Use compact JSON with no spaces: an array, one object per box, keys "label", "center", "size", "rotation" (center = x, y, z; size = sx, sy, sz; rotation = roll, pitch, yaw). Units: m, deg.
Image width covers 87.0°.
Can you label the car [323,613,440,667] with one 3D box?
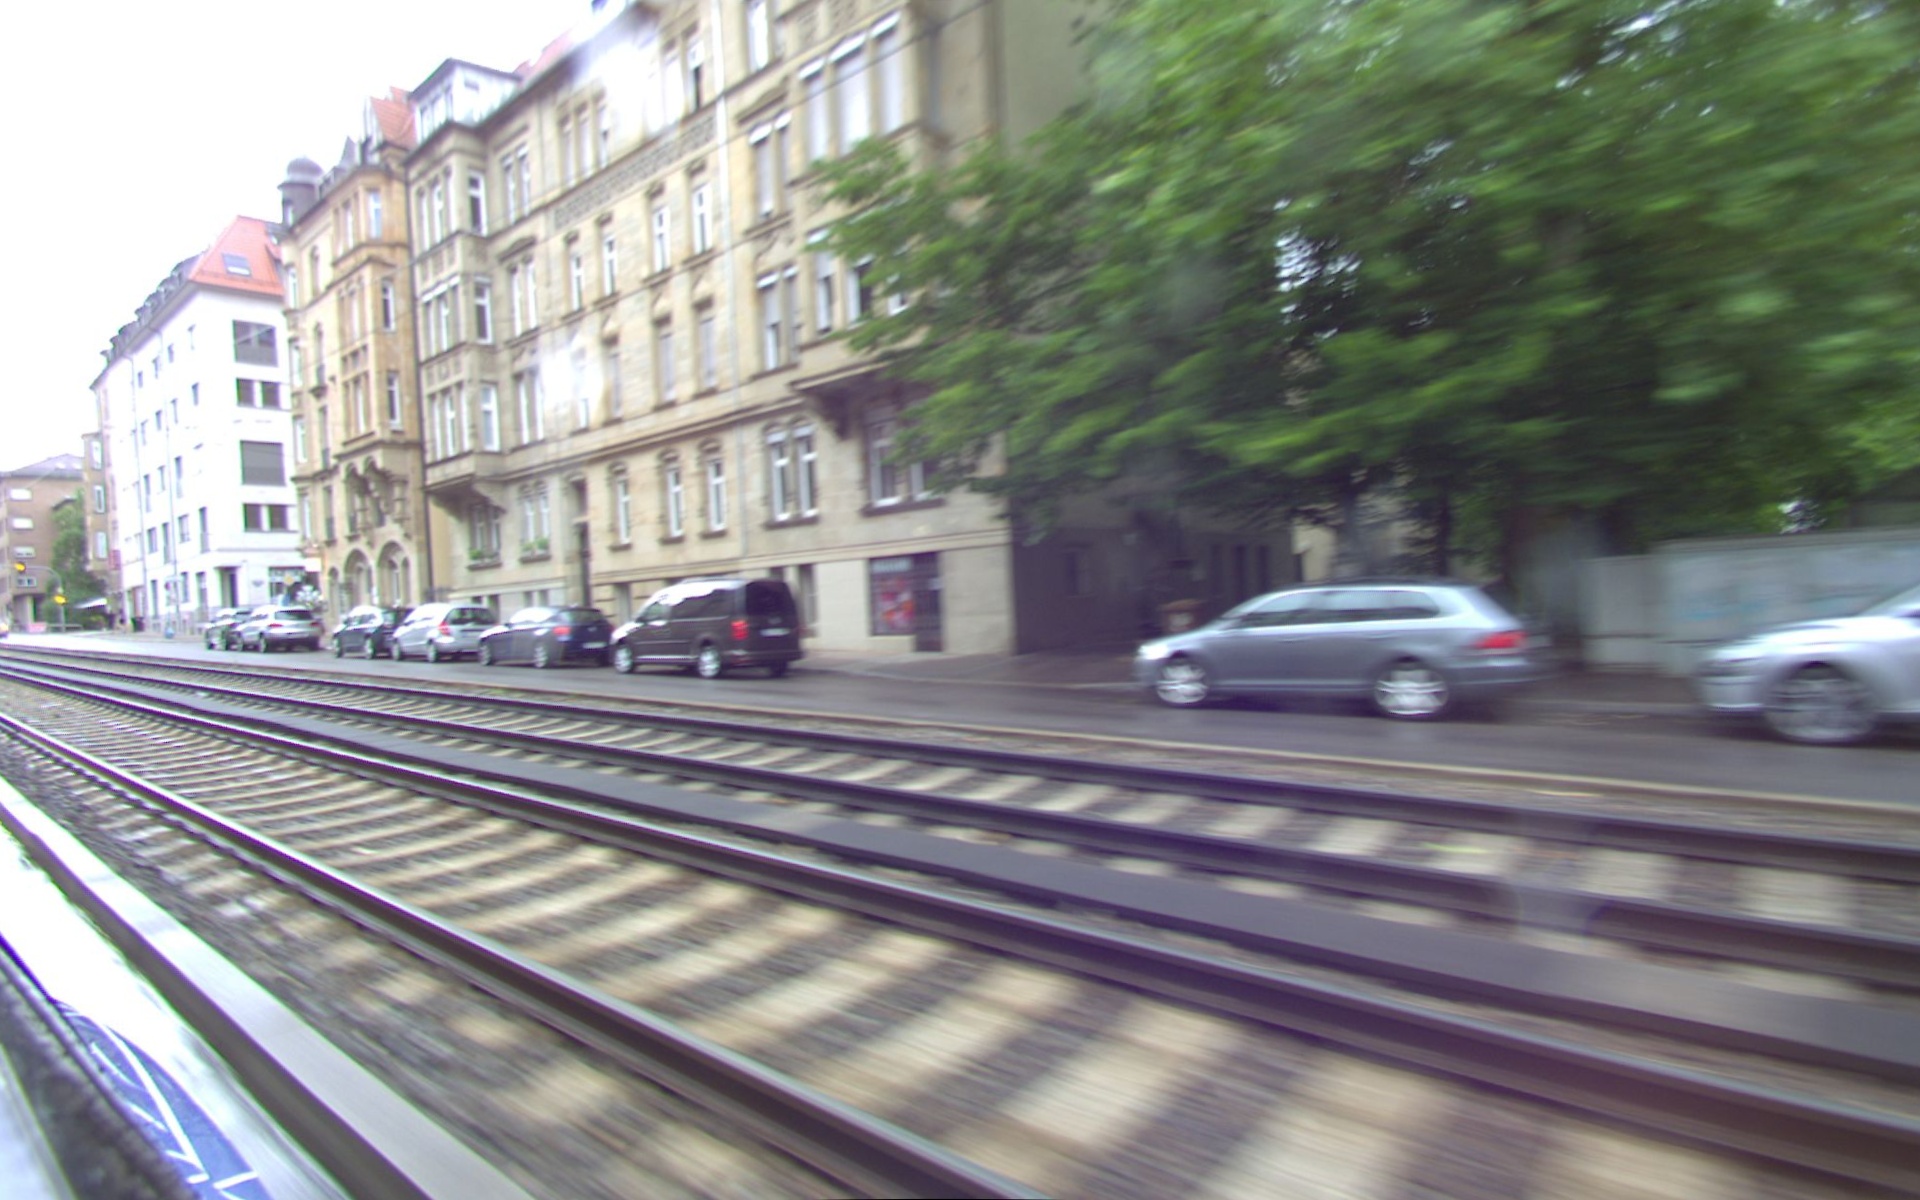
[{"label":"car","center":[-17.778,1.189,31.054],"size":[4.167,1.519,1.851],"rotation":[-1,0,41]}]

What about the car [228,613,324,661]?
[{"label":"car","center":[-25.738,1.355,38.037],"size":[4.312,1.665,1.840],"rotation":[-1,0,40]}]

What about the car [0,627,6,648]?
[{"label":"car","center":[-69.568,2.699,72.036],"size":[4.291,1.468,1.961],"rotation":[-1,-1,40]}]

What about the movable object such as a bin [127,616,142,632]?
[{"label":"movable object such as a bin","center":[-56.698,1.650,69.534],"size":[0.563,1.088,0.623],"rotation":[-2,5,40]}]

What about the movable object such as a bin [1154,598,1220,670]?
[{"label":"movable object such as a bin","center":[3.718,0.545,16.570],"size":[0.773,1.128,0.709],"rotation":[-1,1,43]}]

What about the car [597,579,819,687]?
[{"label":"car","center":[-5.019,0.614,19.763],"size":[4.816,1.861,1.782],"rotation":[-2,-1,41]}]

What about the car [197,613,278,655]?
[{"label":"car","center":[-29.547,1.368,41.345],"size":[4.429,1.614,1.838],"rotation":[-1,-1,43]}]

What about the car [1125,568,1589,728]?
[{"label":"car","center":[4.323,0.493,11.460],"size":[4.546,1.475,1.831],"rotation":[-1,-2,39]}]

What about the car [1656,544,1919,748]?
[{"label":"car","center":[8.323,0.350,7.962],"size":[4.539,1.548,1.736],"rotation":[-1,-2,40]}]

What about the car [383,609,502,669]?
[{"label":"car","center":[-14.337,1.055,27.958],"size":[3.853,1.535,1.677],"rotation":[-1,-1,42]}]

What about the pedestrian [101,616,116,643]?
[{"label":"pedestrian","center":[-58.228,2.017,69.189],"size":[0.746,1.731,0.595],"rotation":[-1,3,44]}]

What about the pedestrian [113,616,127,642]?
[{"label":"pedestrian","center":[-57.797,1.962,69.639],"size":[0.658,1.731,0.595],"rotation":[-1,3,44]}]

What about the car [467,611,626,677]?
[{"label":"car","center":[-9.903,1.008,24.120],"size":[4.266,1.409,1.744],"rotation":[-1,-1,40]}]
